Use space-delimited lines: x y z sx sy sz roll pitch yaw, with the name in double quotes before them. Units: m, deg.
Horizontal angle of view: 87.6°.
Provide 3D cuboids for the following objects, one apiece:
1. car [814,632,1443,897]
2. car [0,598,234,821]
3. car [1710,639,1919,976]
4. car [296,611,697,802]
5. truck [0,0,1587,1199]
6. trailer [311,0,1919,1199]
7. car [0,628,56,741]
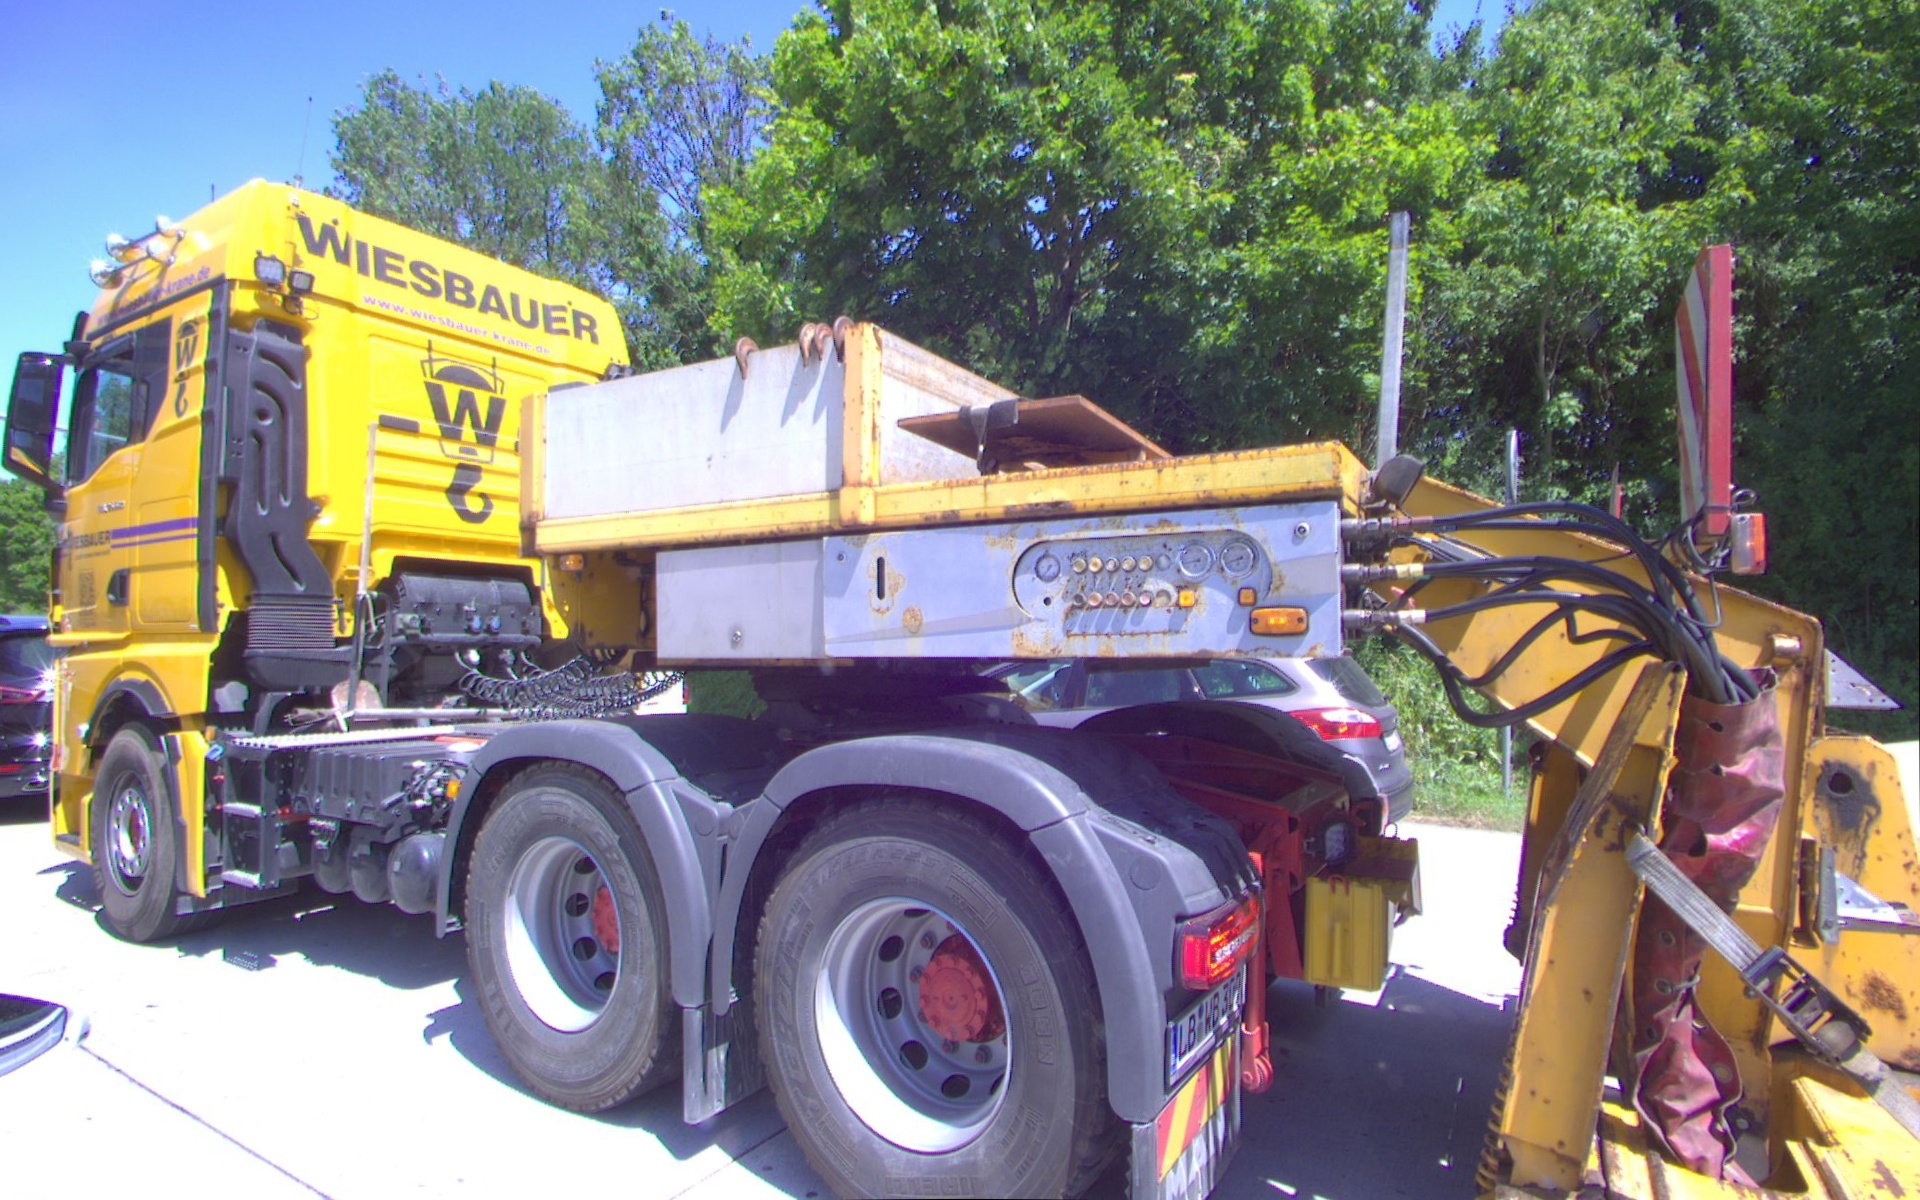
"car" 1.148 0.991 7.470 4.300 1.481 1.765 -1 -2 31
"car" -8.688 0.884 9.259 4.584 1.660 1.779 -1 -2 35
"car" 6.185 0.915 4.304 4.530 1.481 1.766 -1 -2 30
"car" -5.405 1.091 11.528 4.720 1.830 1.766 -1 -2 29
"truck" -1.420 -0.337 4.773 7.361 3.821 3.010 -1 -2 31
"trailer" 5.396 0.191 0.621 16.117 2.626 3.023 -1 -2 31
"car" -14.223 1.110 13.734 4.548 1.428 1.763 -2 -2 35
